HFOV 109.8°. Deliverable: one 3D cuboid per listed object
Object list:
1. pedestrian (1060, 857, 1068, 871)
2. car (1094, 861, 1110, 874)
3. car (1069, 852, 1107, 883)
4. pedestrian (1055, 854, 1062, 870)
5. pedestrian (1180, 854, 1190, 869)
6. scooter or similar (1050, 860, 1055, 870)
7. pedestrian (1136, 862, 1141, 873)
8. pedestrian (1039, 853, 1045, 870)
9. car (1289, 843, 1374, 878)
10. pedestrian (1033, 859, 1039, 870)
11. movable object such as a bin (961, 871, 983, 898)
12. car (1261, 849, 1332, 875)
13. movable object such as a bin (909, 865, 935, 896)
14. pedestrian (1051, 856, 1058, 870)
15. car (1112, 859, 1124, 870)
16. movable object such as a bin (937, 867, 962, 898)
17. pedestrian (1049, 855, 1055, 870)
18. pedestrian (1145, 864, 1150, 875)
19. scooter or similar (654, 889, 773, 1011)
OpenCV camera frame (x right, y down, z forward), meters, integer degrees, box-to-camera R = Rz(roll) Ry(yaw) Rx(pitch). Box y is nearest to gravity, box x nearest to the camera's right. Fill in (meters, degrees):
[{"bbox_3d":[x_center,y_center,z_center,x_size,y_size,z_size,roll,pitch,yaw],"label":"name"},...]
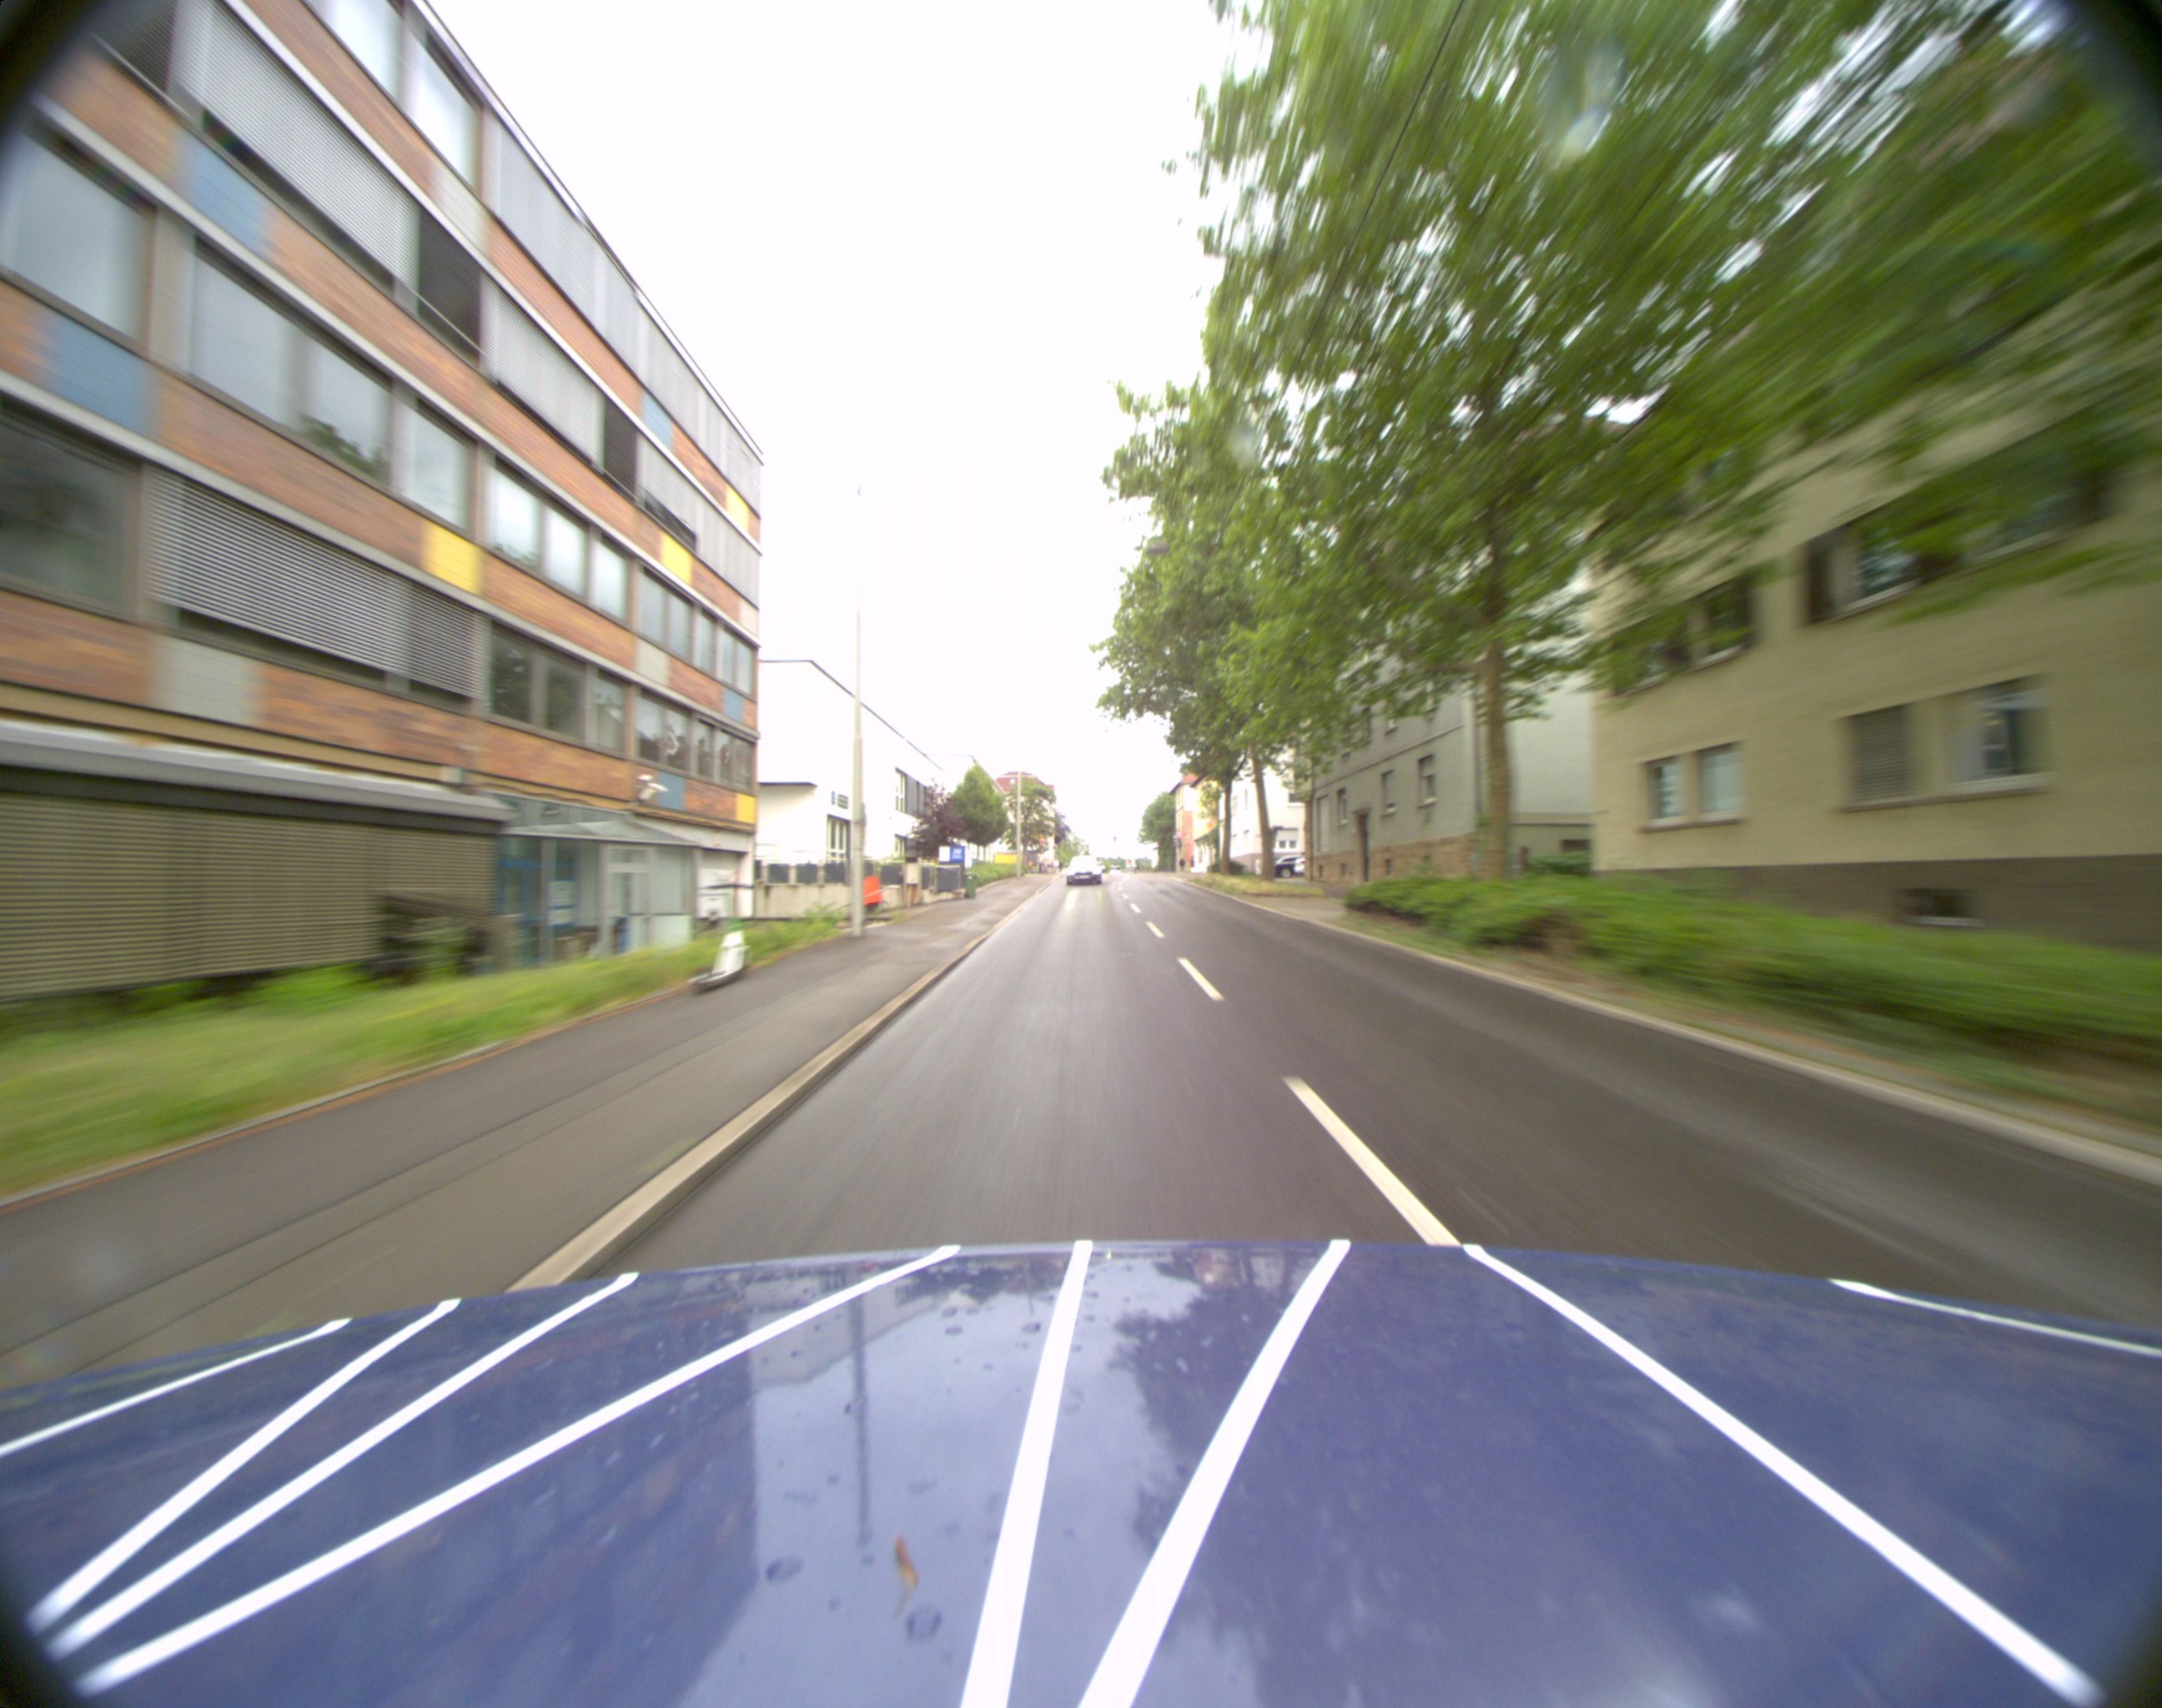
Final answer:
[{"bbox_3d":[-2.087,1.188,91.913,0.637,1.700,0.747,3,-1,-33],"label":"pedestrian"},{"bbox_3d":[2.539,1.579,89.521,1.837,1.429,4.001,0,0,3],"label":"car"},{"bbox_3d":[0.417,0.736,39.698,1.837,1.429,4.003,-1,-3,2],"label":"car"},{"bbox_3d":[-2.667,0.981,91.529,0.634,1.864,0.487,3,-1,-31],"label":"pedestrian"},{"bbox_3d":[11.291,0.813,82.415,0.817,1.669,0.993,-2,0,-1],"label":"pedestrian"},{"bbox_3d":[-3.294,1.310,87.562,0.619,1.133,0.567,1,-1,-4],"label":"scooter or similar"},{"bbox_3d":[9.768,2.328,129.390,0.864,1.870,1.044,0,-2,-1],"label":"pedestrian"},{"bbox_3d":[-4.196,0.839,81.377,0.648,1.820,0.741,1,-1,-4],"label":"pedestrian"},{"bbox_3d":[14.554,0.387,44.327,4.193,1.694,2.000,-4,-1,1],"label":"car"},{"bbox_3d":[-5.033,1.196,85.527,0.662,1.191,0.741,1,-1,-4],"label":"pedestrian"},{"bbox_3d":[-3.930,1.082,27.439,0.621,0.931,0.686,2,0,2],"label":"movable object such as a bin"},{"bbox_3d":[14.050,0.525,49.764,3.997,1.444,2.000,-4,-1,0],"label":"car"},{"bbox_3d":[-5.700,0.951,27.263,0.696,1.076,0.779,2,0,2],"label":"movable object such as a bin"},{"bbox_3d":[-3.159,1.046,90.930,0.446,1.697,0.559,1,-1,38],"label":"pedestrian"},{"bbox_3d":[6.411,1.786,132.113,1.886,1.858,4.454,-2,0,1],"label":"car"},{"bbox_3d":[-4.721,1.017,27.296,0.696,1.076,0.779,2,0,2],"label":"movable object such as a bin"},{"bbox_3d":[-3.344,1.036,88.224,0.662,1.731,0.829,1,-1,-4],"label":"pedestrian"},{"bbox_3d":[11.196,2.615,128.010,0.808,1.810,1.117,-1,-3,1],"label":"pedestrian"},{"bbox_3d":[-4.092,1.022,8.600,0.607,1.155,1.699,0,0,-4],"label":"scooter or similar"}]
